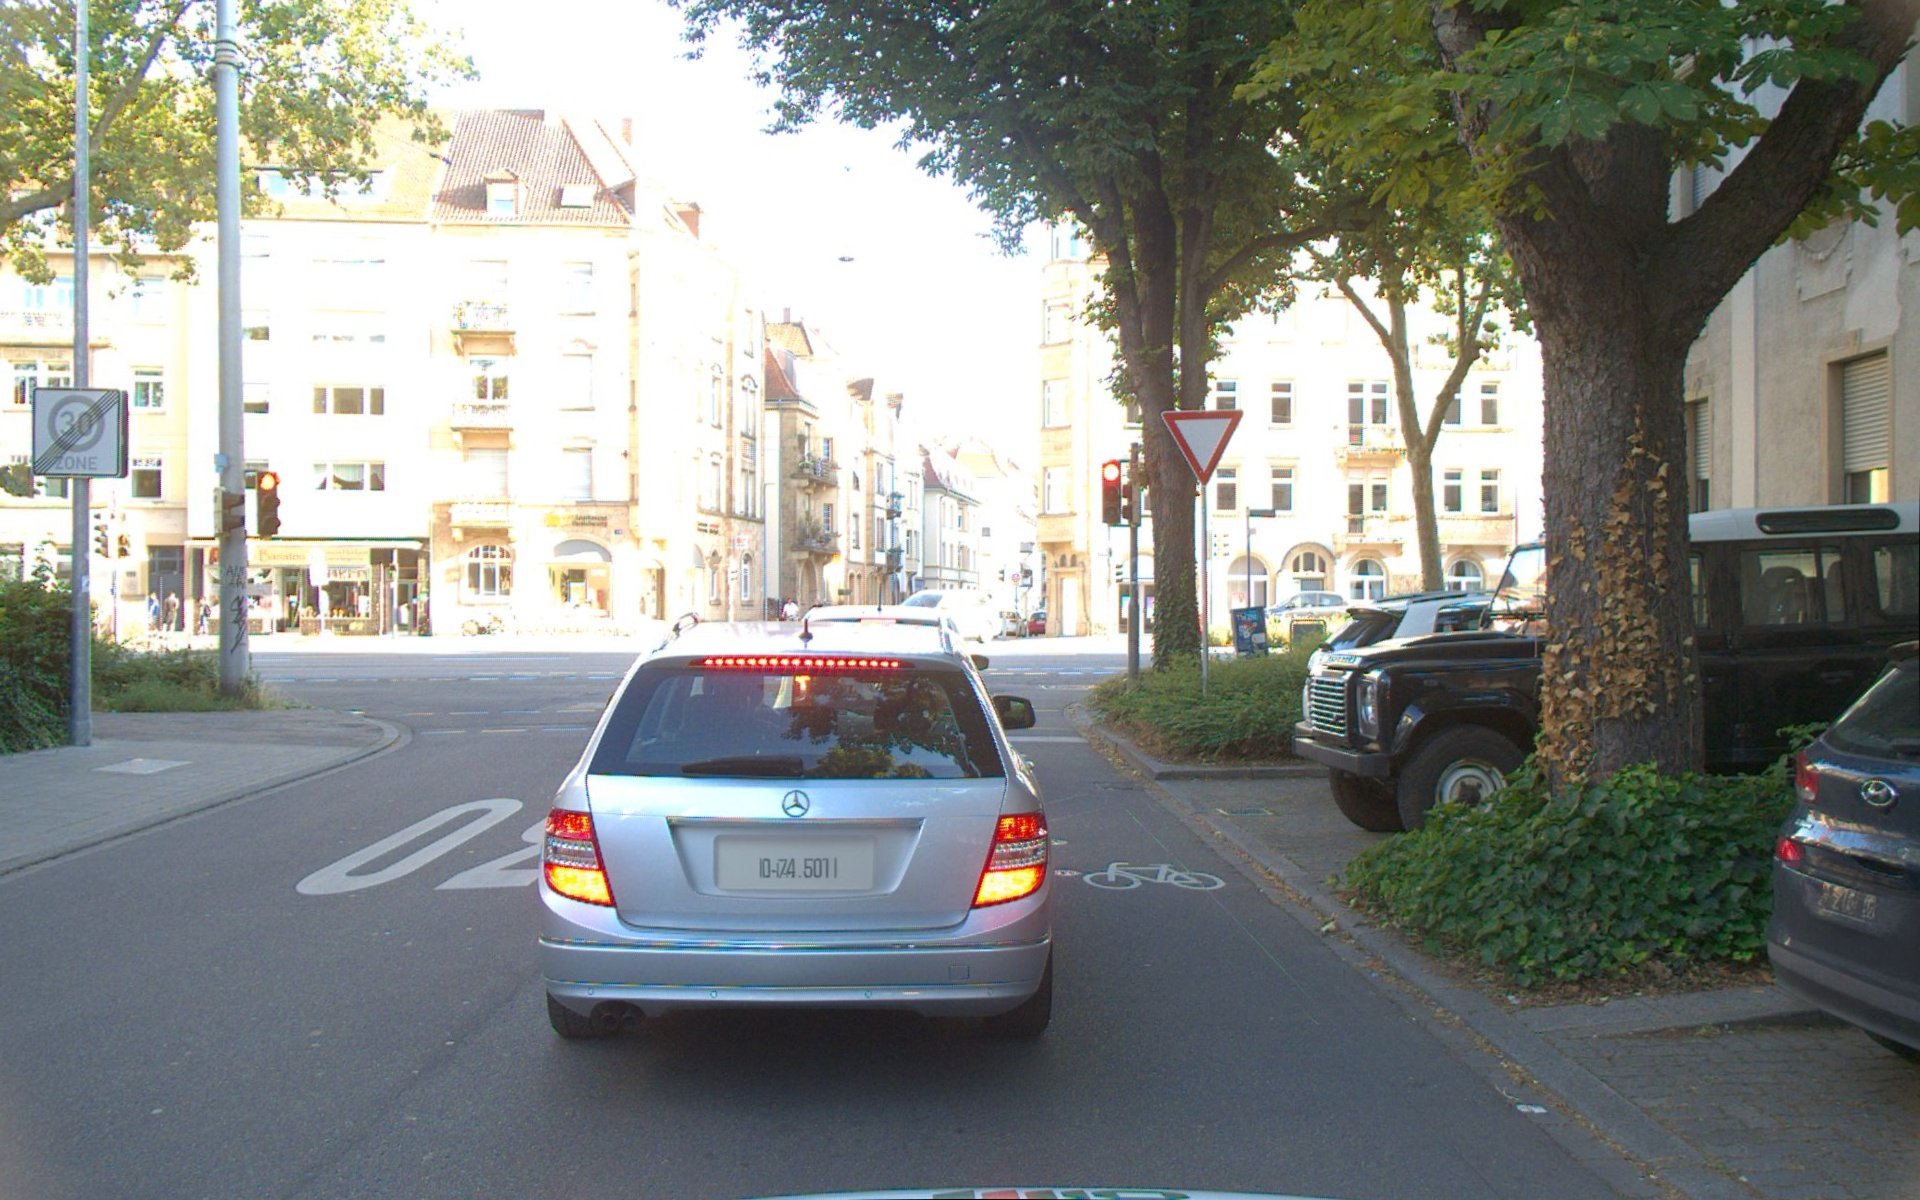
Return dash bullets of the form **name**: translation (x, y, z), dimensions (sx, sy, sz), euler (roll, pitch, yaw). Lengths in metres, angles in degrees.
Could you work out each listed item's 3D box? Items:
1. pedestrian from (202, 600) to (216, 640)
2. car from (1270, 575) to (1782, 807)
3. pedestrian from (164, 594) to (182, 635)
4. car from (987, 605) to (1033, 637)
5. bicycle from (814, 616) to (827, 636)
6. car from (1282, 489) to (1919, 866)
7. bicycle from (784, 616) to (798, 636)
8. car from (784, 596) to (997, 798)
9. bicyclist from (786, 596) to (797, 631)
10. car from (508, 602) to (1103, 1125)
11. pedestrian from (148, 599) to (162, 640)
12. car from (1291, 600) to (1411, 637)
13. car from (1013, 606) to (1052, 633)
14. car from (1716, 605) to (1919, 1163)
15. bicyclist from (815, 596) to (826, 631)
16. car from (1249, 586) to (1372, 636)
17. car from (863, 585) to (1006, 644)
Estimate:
- **pedestrian**: translation (-28.804, 0.767, 63.413), dimensions (0.466, 1.537, 0.428), euler (0, 0, -21)
- **car**: translation (4.378, 0.657, 13.072), dimensions (3.415, 1.614, 1.708), euler (-1, 0, -7)
- **pedestrian**: translation (-29.781, 0.530, 62.559), dimensions (0.557, 1.537, 0.499), euler (0, 0, -20)
- **car**: translation (2.615, 1.053, 85.893), dimensions (1.684, 1.504, 4.004), euler (-2, 0, 11)
- **bicycle**: translation (-6.172, 1.148, 73.241), dimensions (0.557, 0.849, 1.564), euler (0, 0, -4)
- **car**: translation (4.419, 0.399, 10.236), dimensions (4.402, 1.990, 1.791), euler (-2, 0, -4)
- **bicycle**: translation (-7.473, 1.155, 73.231), dimensions (0.557, 0.849, 1.564), euler (0, 0, -4)
- **car**: translation (-0.561, 0.690, 13.551), dimensions (1.502, 1.415, 3.597), euler (0, 0, -2)
- **bicyclist**: translation (-7.456, 0.593, 73.205), dimensions (0.457, 1.541, 0.655), euler (0, 0, -4)
- **car**: translation (-0.529, 0.757, 6.441), dimensions (1.657, 1.454, 3.490), euler (1, 0, -3)
- **pedestrian**: translation (-30.981, 0.750, 63.655), dimensions (0.502, 1.537, 0.532), euler (0, 0, -28)
- **car**: translation (11.801, 0.557, 50.057), dimensions (3.296, 1.087, 1.380), euler (0, 0, -2)
- **car**: translation (4.483, 1.186, 102.118), dimensions (1.684, 1.503, 4.004), euler (-4, 0, 11)
- **car**: translation (4.310, 0.687, 4.573), dimensions (3.675, 1.446, 1.627), euler (-2, -1, -4)
- **bicyclist**: translation (-6.177, 0.589, 73.323), dimensions (0.457, 1.547, 0.693), euler (0, 0, -4)
- **car**: translation (10.930, 0.336, 51.675), dimensions (3.507, 1.527, 1.620), euler (0, 1, -1)
- **car**: translation (-0.636, 0.364, 45.026), dimensions (1.750, 1.487, 4.286), euler (0, 1, 34)
